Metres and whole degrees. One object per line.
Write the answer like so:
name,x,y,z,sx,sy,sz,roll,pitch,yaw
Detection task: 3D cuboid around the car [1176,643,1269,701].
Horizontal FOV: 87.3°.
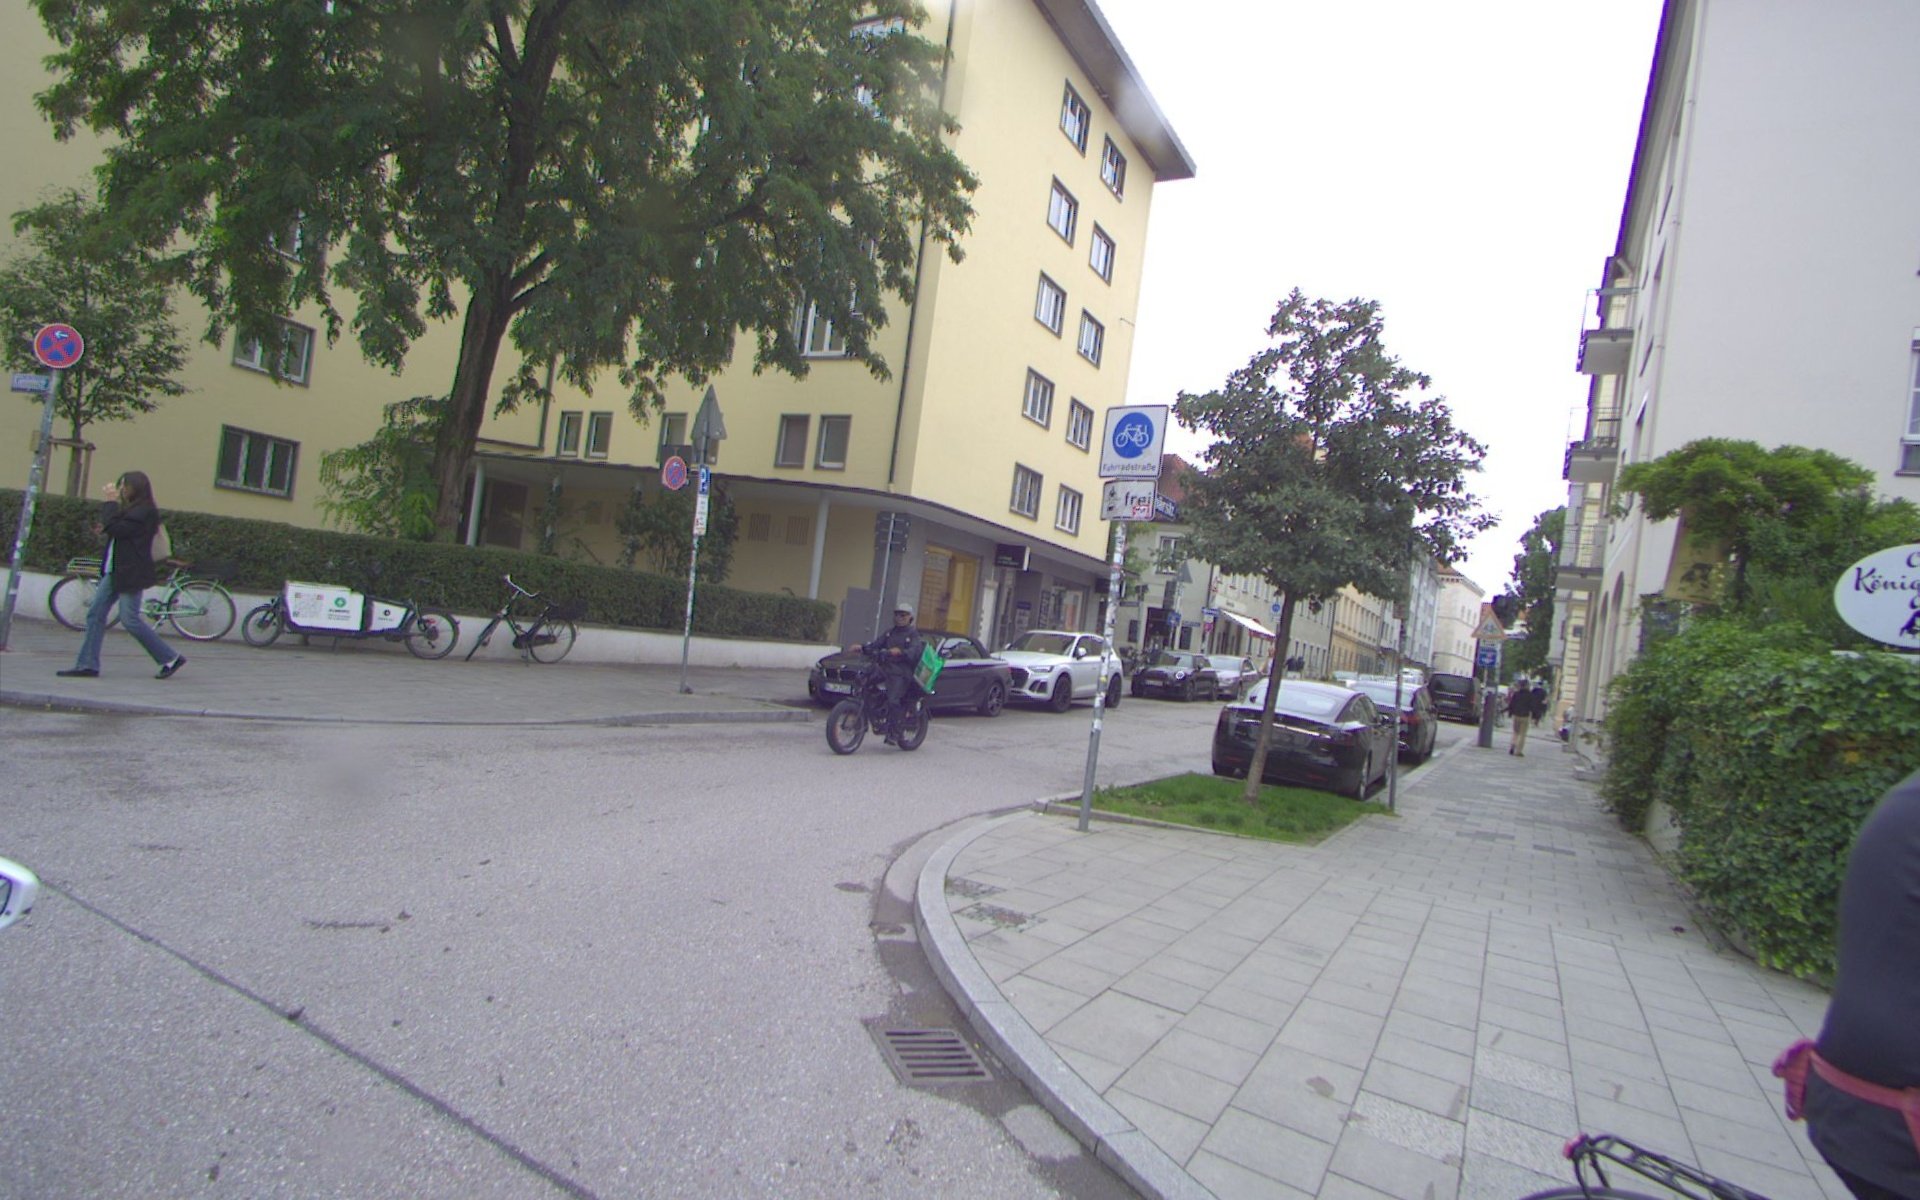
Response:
car,8.693,2.394,33.095,1.794,1.548,3.994,7,-1,30

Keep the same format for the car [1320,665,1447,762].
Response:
car,8.744,2.281,20.561,1.695,1.548,3.994,7,-1,31

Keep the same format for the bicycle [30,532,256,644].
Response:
bicycle,-9.510,-0.124,11.783,1.920,1.098,0.527,6,0,-17

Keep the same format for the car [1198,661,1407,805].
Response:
car,4.988,1.763,14.187,1.936,1.415,4.500,7,-1,29

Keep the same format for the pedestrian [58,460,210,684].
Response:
pedestrian,-7.417,-0.238,9.039,0.756,1.881,0.848,7,1,43

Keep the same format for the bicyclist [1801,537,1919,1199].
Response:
bicyclist,1.730,0.821,1.220,1.035,1.629,0.874,7,0,41

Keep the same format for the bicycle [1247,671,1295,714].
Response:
bicycle,8.472,2.519,27.323,0.673,1.036,1.964,7,-1,31

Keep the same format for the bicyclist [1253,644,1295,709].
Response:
bicyclist,8.555,2.090,27.370,0.685,1.676,1.005,7,0,32

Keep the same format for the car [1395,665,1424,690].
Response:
car,35.001,6.052,78.277,1.758,1.682,3.997,7,-1,27

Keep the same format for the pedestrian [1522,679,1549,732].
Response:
pedestrian,23.657,4.331,41.373,0.743,2.038,0.830,7,0,31

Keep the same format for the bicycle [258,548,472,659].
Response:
bicycle,-7.507,0.073,12.776,2.161,1.129,0.633,8,-1,-43

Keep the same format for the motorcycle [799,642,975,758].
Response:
motorcycle,-0.767,1.125,11.268,0.708,1.111,1.970,7,-1,39

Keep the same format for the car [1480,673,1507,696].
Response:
car,42.454,6.675,80.004,1.675,1.526,3.994,7,0,29

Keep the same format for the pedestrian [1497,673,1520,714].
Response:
pedestrian,28.552,4.873,52.374,0.774,2.038,0.831,7,0,26

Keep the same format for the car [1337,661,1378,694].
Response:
car,23.865,4.632,60.260,1.758,1.682,3.997,7,-1,27

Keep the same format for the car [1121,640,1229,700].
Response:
car,6.377,2.096,29.526,1.796,1.417,3.994,7,-1,31

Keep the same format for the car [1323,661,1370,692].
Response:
car,21.658,4.299,56.267,1.759,1.431,3.995,7,-1,29

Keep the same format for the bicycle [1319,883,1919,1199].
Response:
bicycle,1.657,1.209,1.253,2.161,1.032,0.875,7,-1,43

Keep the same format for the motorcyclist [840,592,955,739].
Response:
motorcyclist,-0.691,0.744,11.286,0.703,1.519,0.895,7,0,39

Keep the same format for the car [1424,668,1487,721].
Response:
car,20.070,3.812,40.698,1.789,1.796,3.994,7,-1,31

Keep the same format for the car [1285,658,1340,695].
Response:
car,16.937,3.687,48.209,1.712,1.439,3.996,7,-1,29

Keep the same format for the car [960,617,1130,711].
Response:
car,1.931,1.339,21.471,1.828,1.682,4.311,4,-1,31

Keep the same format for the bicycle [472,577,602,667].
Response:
bicycle,-6.013,0.340,14.408,0.452,1.144,1.685,7,-1,29

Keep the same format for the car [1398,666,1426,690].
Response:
car,37.121,6.421,82.556,1.758,1.682,3.997,7,-1,27

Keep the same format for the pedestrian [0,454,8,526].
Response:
pedestrian,-7.485,-0.200,7.039,0.650,1.831,0.989,7,0,39

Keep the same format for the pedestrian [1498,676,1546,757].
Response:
pedestrian,13.100,2.695,23.445,0.775,1.735,0.830,7,0,31

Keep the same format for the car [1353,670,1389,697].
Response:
car,26.395,5.332,64.477,1.663,1.426,3.995,8,0,27

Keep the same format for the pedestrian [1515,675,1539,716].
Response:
pedestrian,29.302,4.933,51.994,0.774,2.038,0.831,7,0,26

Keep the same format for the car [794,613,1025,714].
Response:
car,-0.692,1.127,17.001,1.635,1.383,4.326,4,-3,32

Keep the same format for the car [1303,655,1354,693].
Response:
car,19.174,3.886,52.262,1.759,1.682,3.995,7,-1,29

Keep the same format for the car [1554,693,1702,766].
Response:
car,19.646,3.776,29.748,3.424,1.548,1.573,7,0,32
